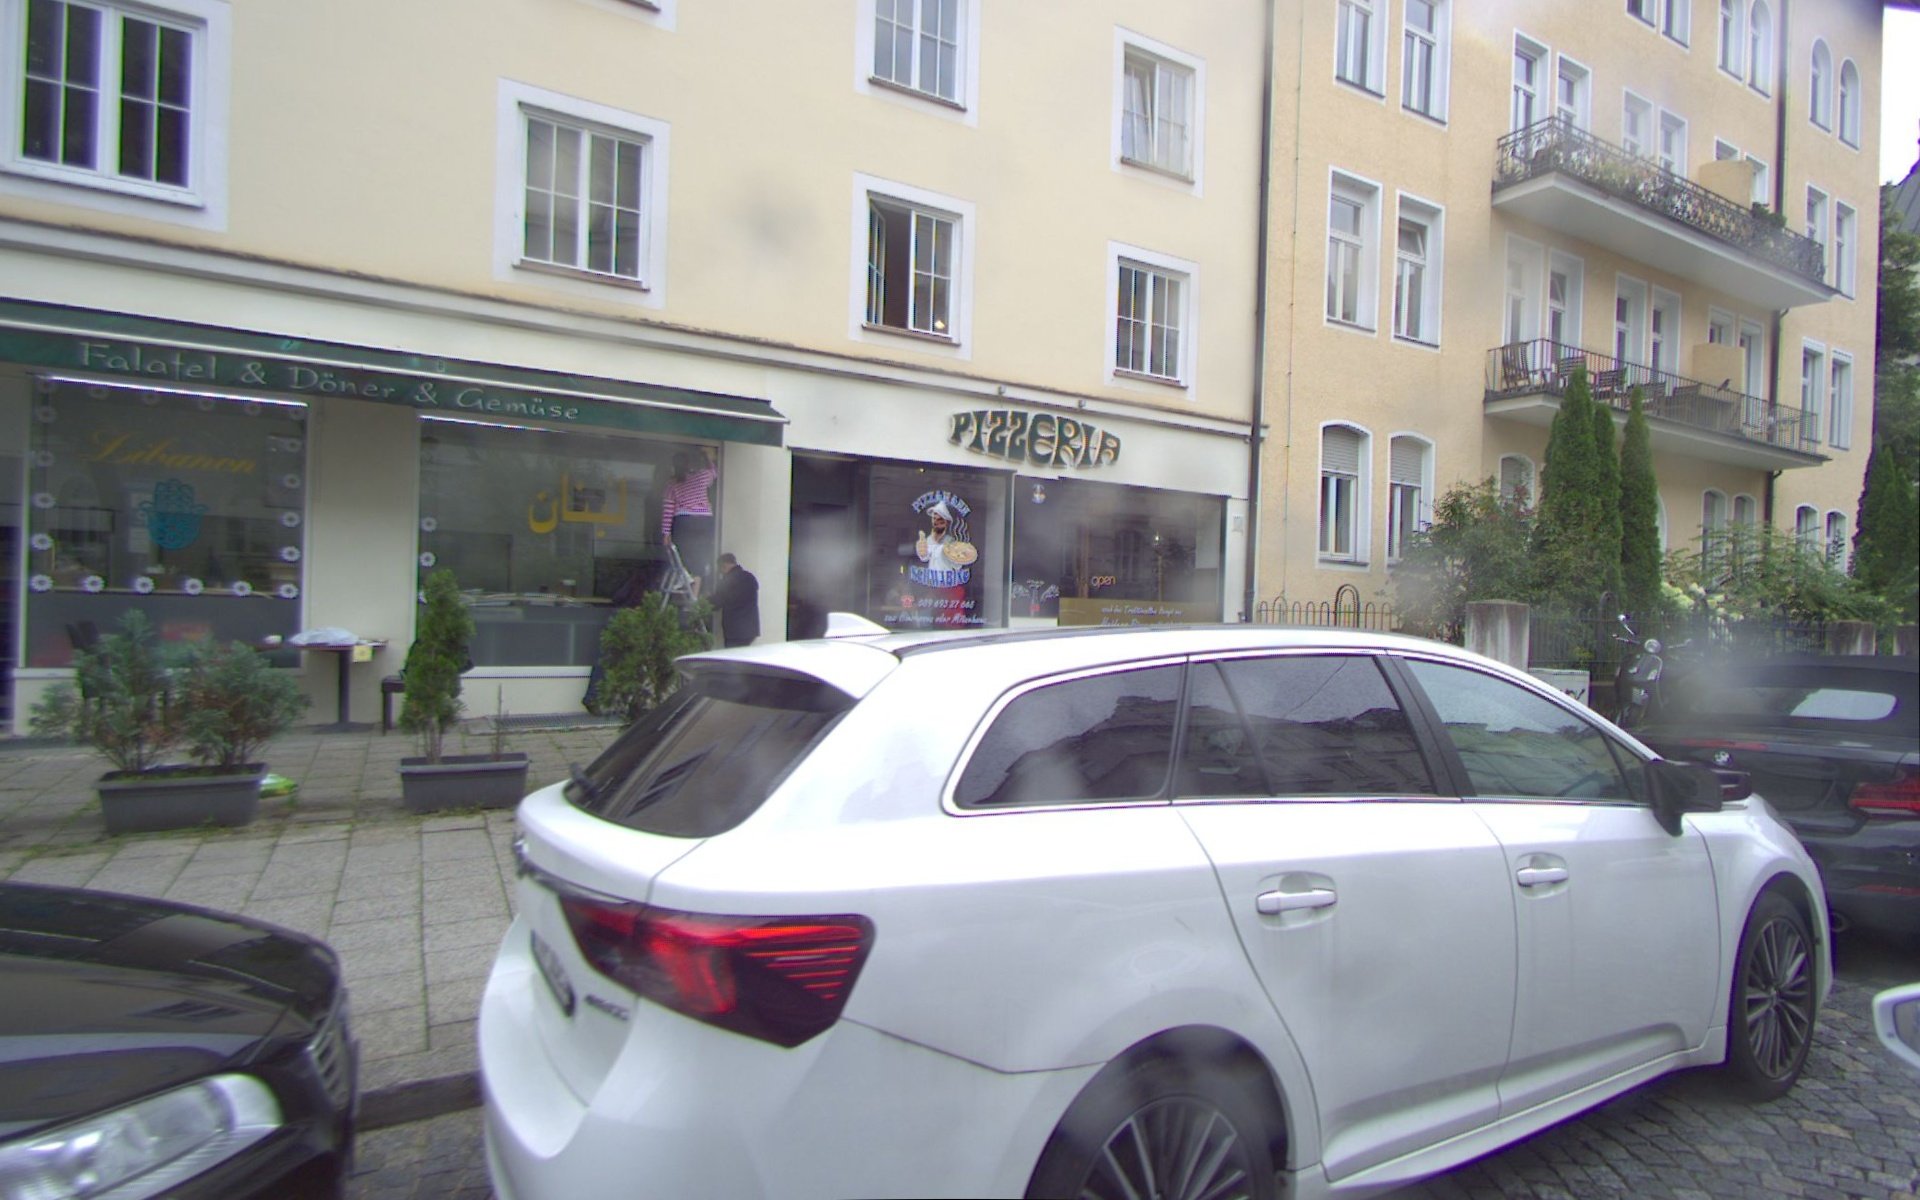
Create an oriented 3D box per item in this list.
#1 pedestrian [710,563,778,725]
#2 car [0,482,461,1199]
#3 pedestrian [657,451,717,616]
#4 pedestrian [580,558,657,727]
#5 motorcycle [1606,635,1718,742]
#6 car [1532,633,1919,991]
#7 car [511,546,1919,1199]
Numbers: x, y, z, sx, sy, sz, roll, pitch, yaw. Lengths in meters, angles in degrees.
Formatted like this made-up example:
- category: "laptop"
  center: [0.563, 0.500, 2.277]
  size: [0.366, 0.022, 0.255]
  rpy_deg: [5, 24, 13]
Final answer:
- category: "pedestrian"
  center: [-2.355, 0.471, 10.937]
  size: [0.567, 1.712, 0.459]
  rpy_deg: [2, 0, -29]
- category: "car"
  center: [-3.217, 0.595, 1.030]
  size: [4.694, 1.607, 1.842]
  rpy_deg: [2, 0, -31]
- category: "pedestrian"
  center: [-2.853, -0.672, 10.490]
  size: [0.490, 1.664, 0.476]
  rpy_deg: [2, 0, -25]
- category: "pedestrian"
  center: [-3.503, 0.426, 10.291]
  size: [0.622, 1.664, 0.519]
  rpy_deg: [2, 0, -30]
- category: "motorcycle"
  center: [8.473, 1.046, 12.113]
  size: [1.561, 1.210, 0.488]
  rpy_deg: [2, 0, -31]
- category: "car"
  center: [5.355, 0.939, 5.752]
  size: [4.342, 1.377, 1.764]
  rpy_deg: [2, 0, -32]
- category: "car"
  center: [1.099, 0.787, 3.239]
  size: [4.487, 1.556, 1.765]
  rpy_deg: [2, -2, -30]
